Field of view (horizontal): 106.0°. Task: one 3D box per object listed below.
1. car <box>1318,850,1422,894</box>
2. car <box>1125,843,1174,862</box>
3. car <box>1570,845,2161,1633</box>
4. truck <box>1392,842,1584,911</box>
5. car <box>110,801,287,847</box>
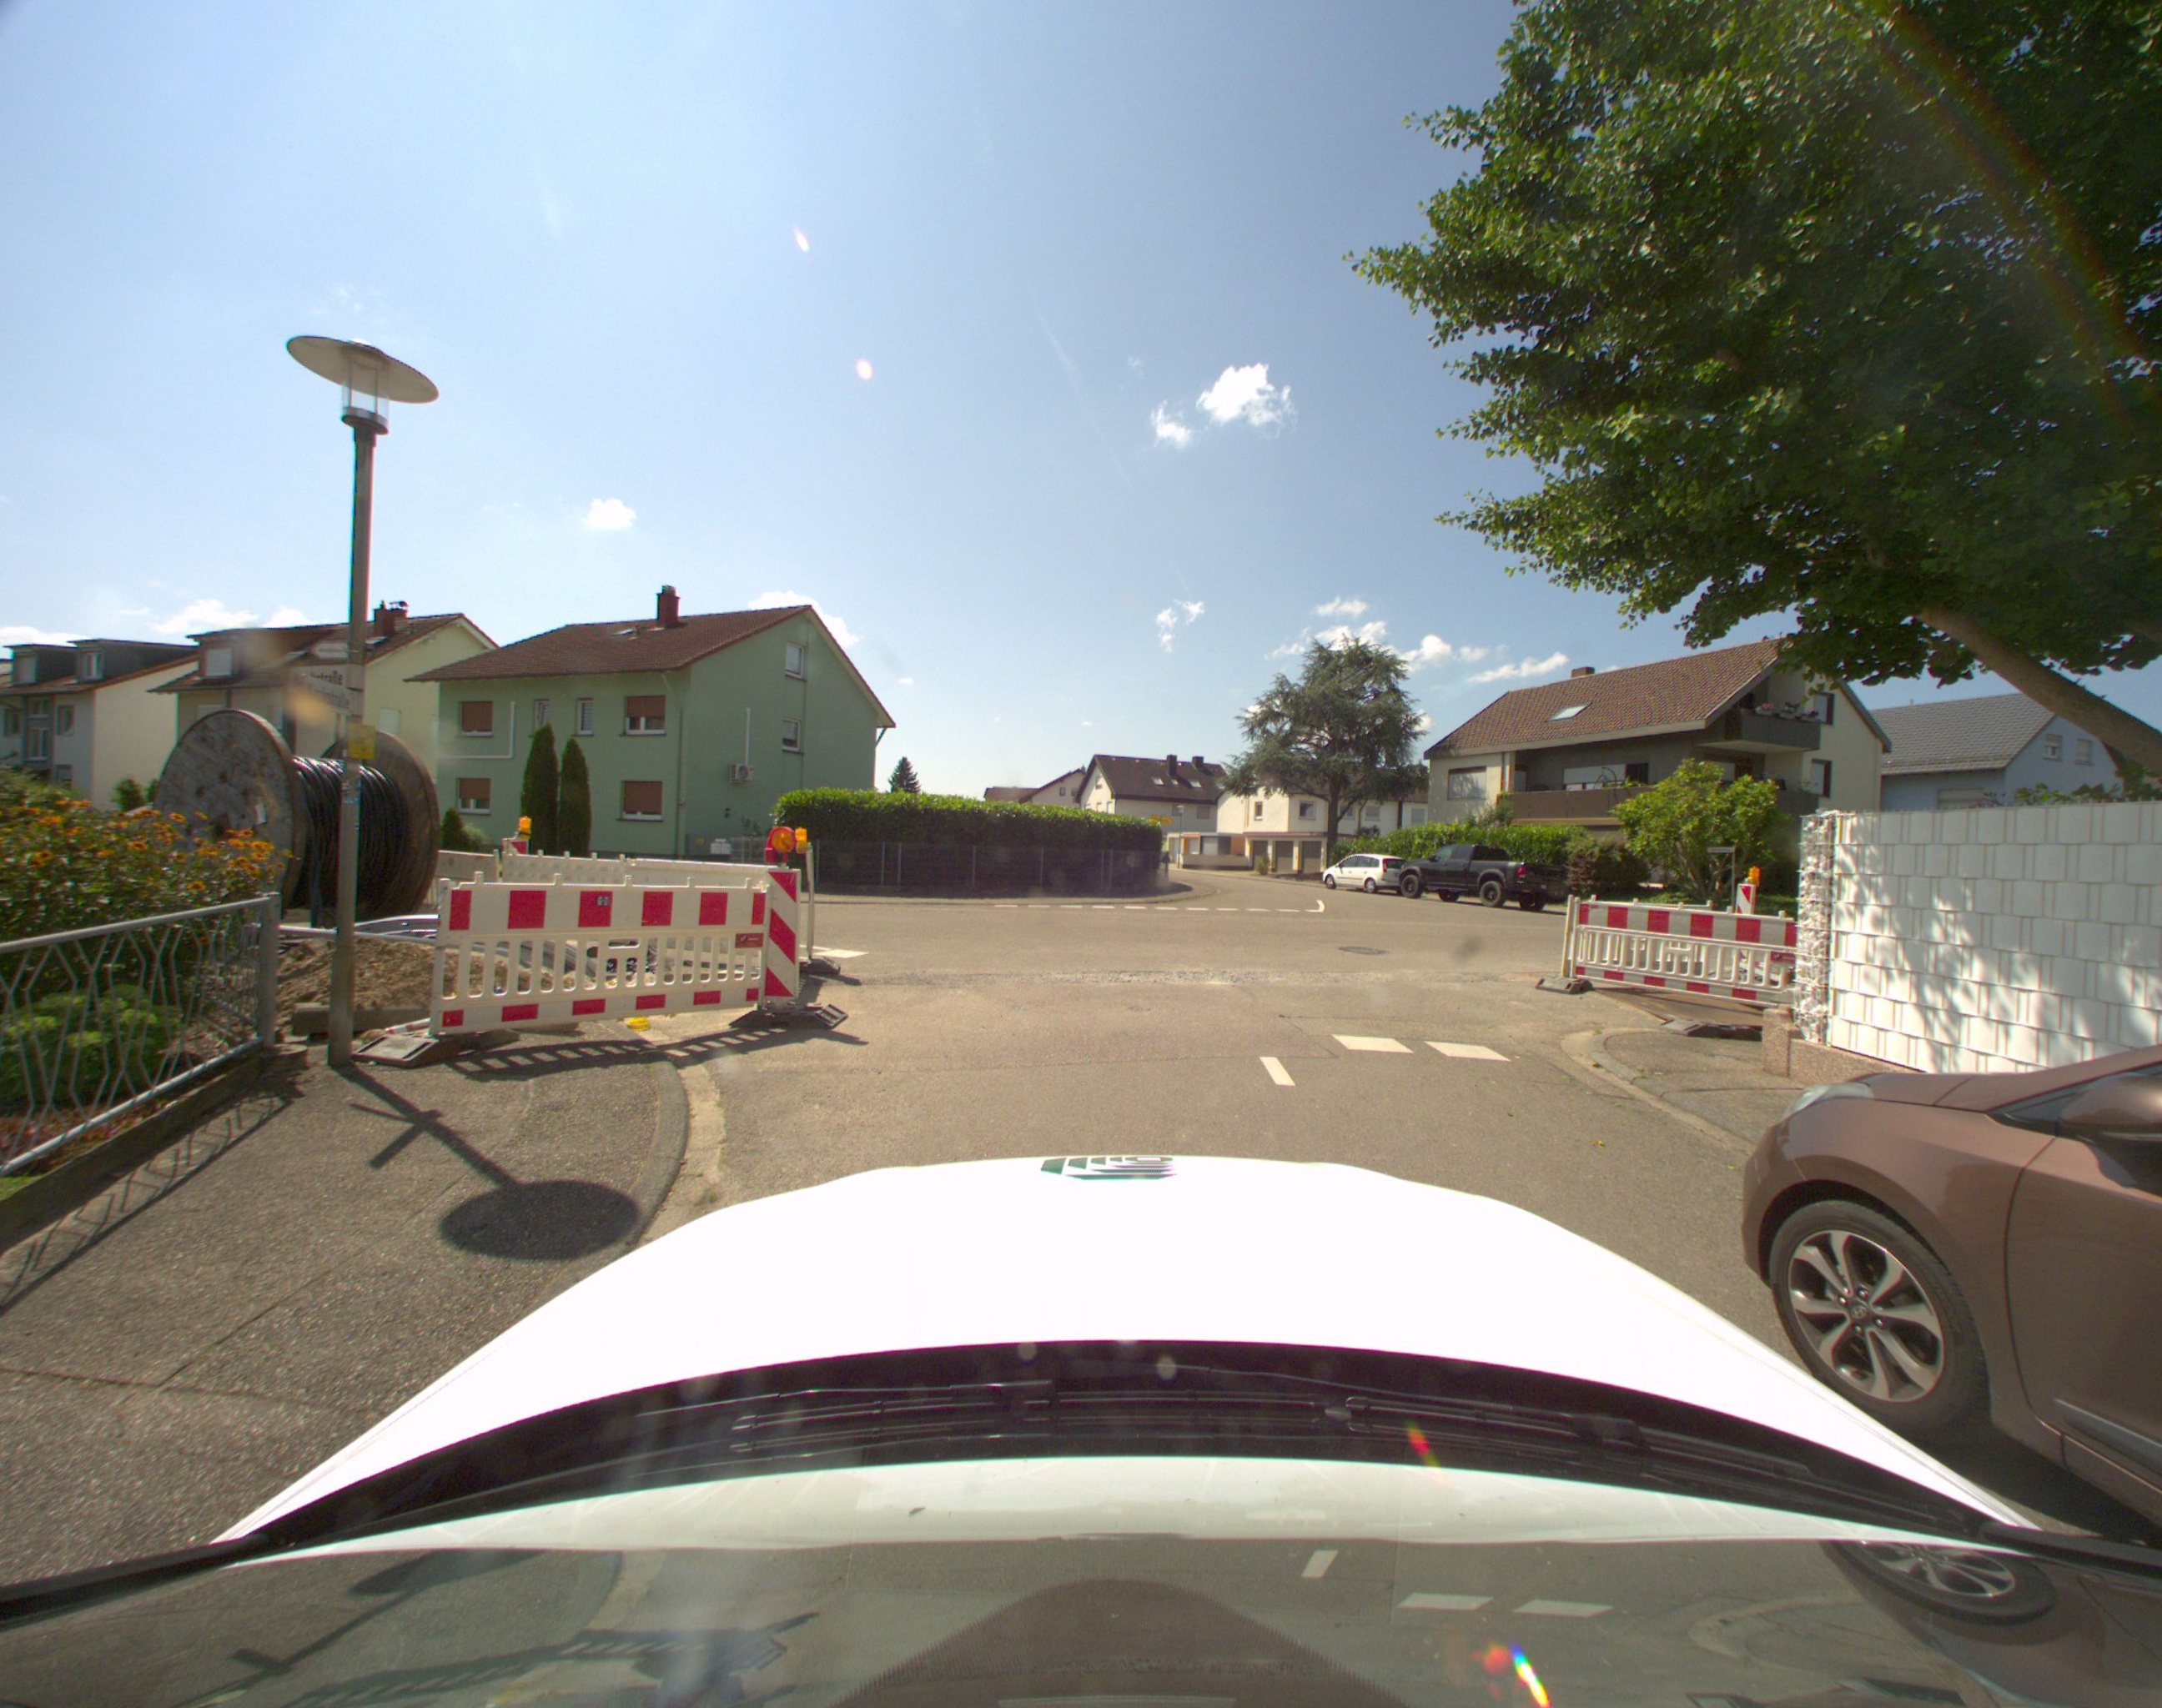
[{"bbox_3d":[11.962,0.702,34.029,1.804,1.563,4.115,2,1,-21],"label":"car"},{"bbox_3d":[5.669,-0.160,67.156,3.610,1.408,1.773,2,1,-19],"label":"car"},{"bbox_3d":[3.015,0.830,1.547,1.706,1.532,4.037,6,1,1],"label":"car"},{"bbox_3d":[13.647,0.672,27.824,2.373,2.013,5.672,2,1,-22],"label":"truck"},{"bbox_3d":[-31.870,-1.066,29.559,1.753,1.509,3.947,3,2,21],"label":"car"}]
